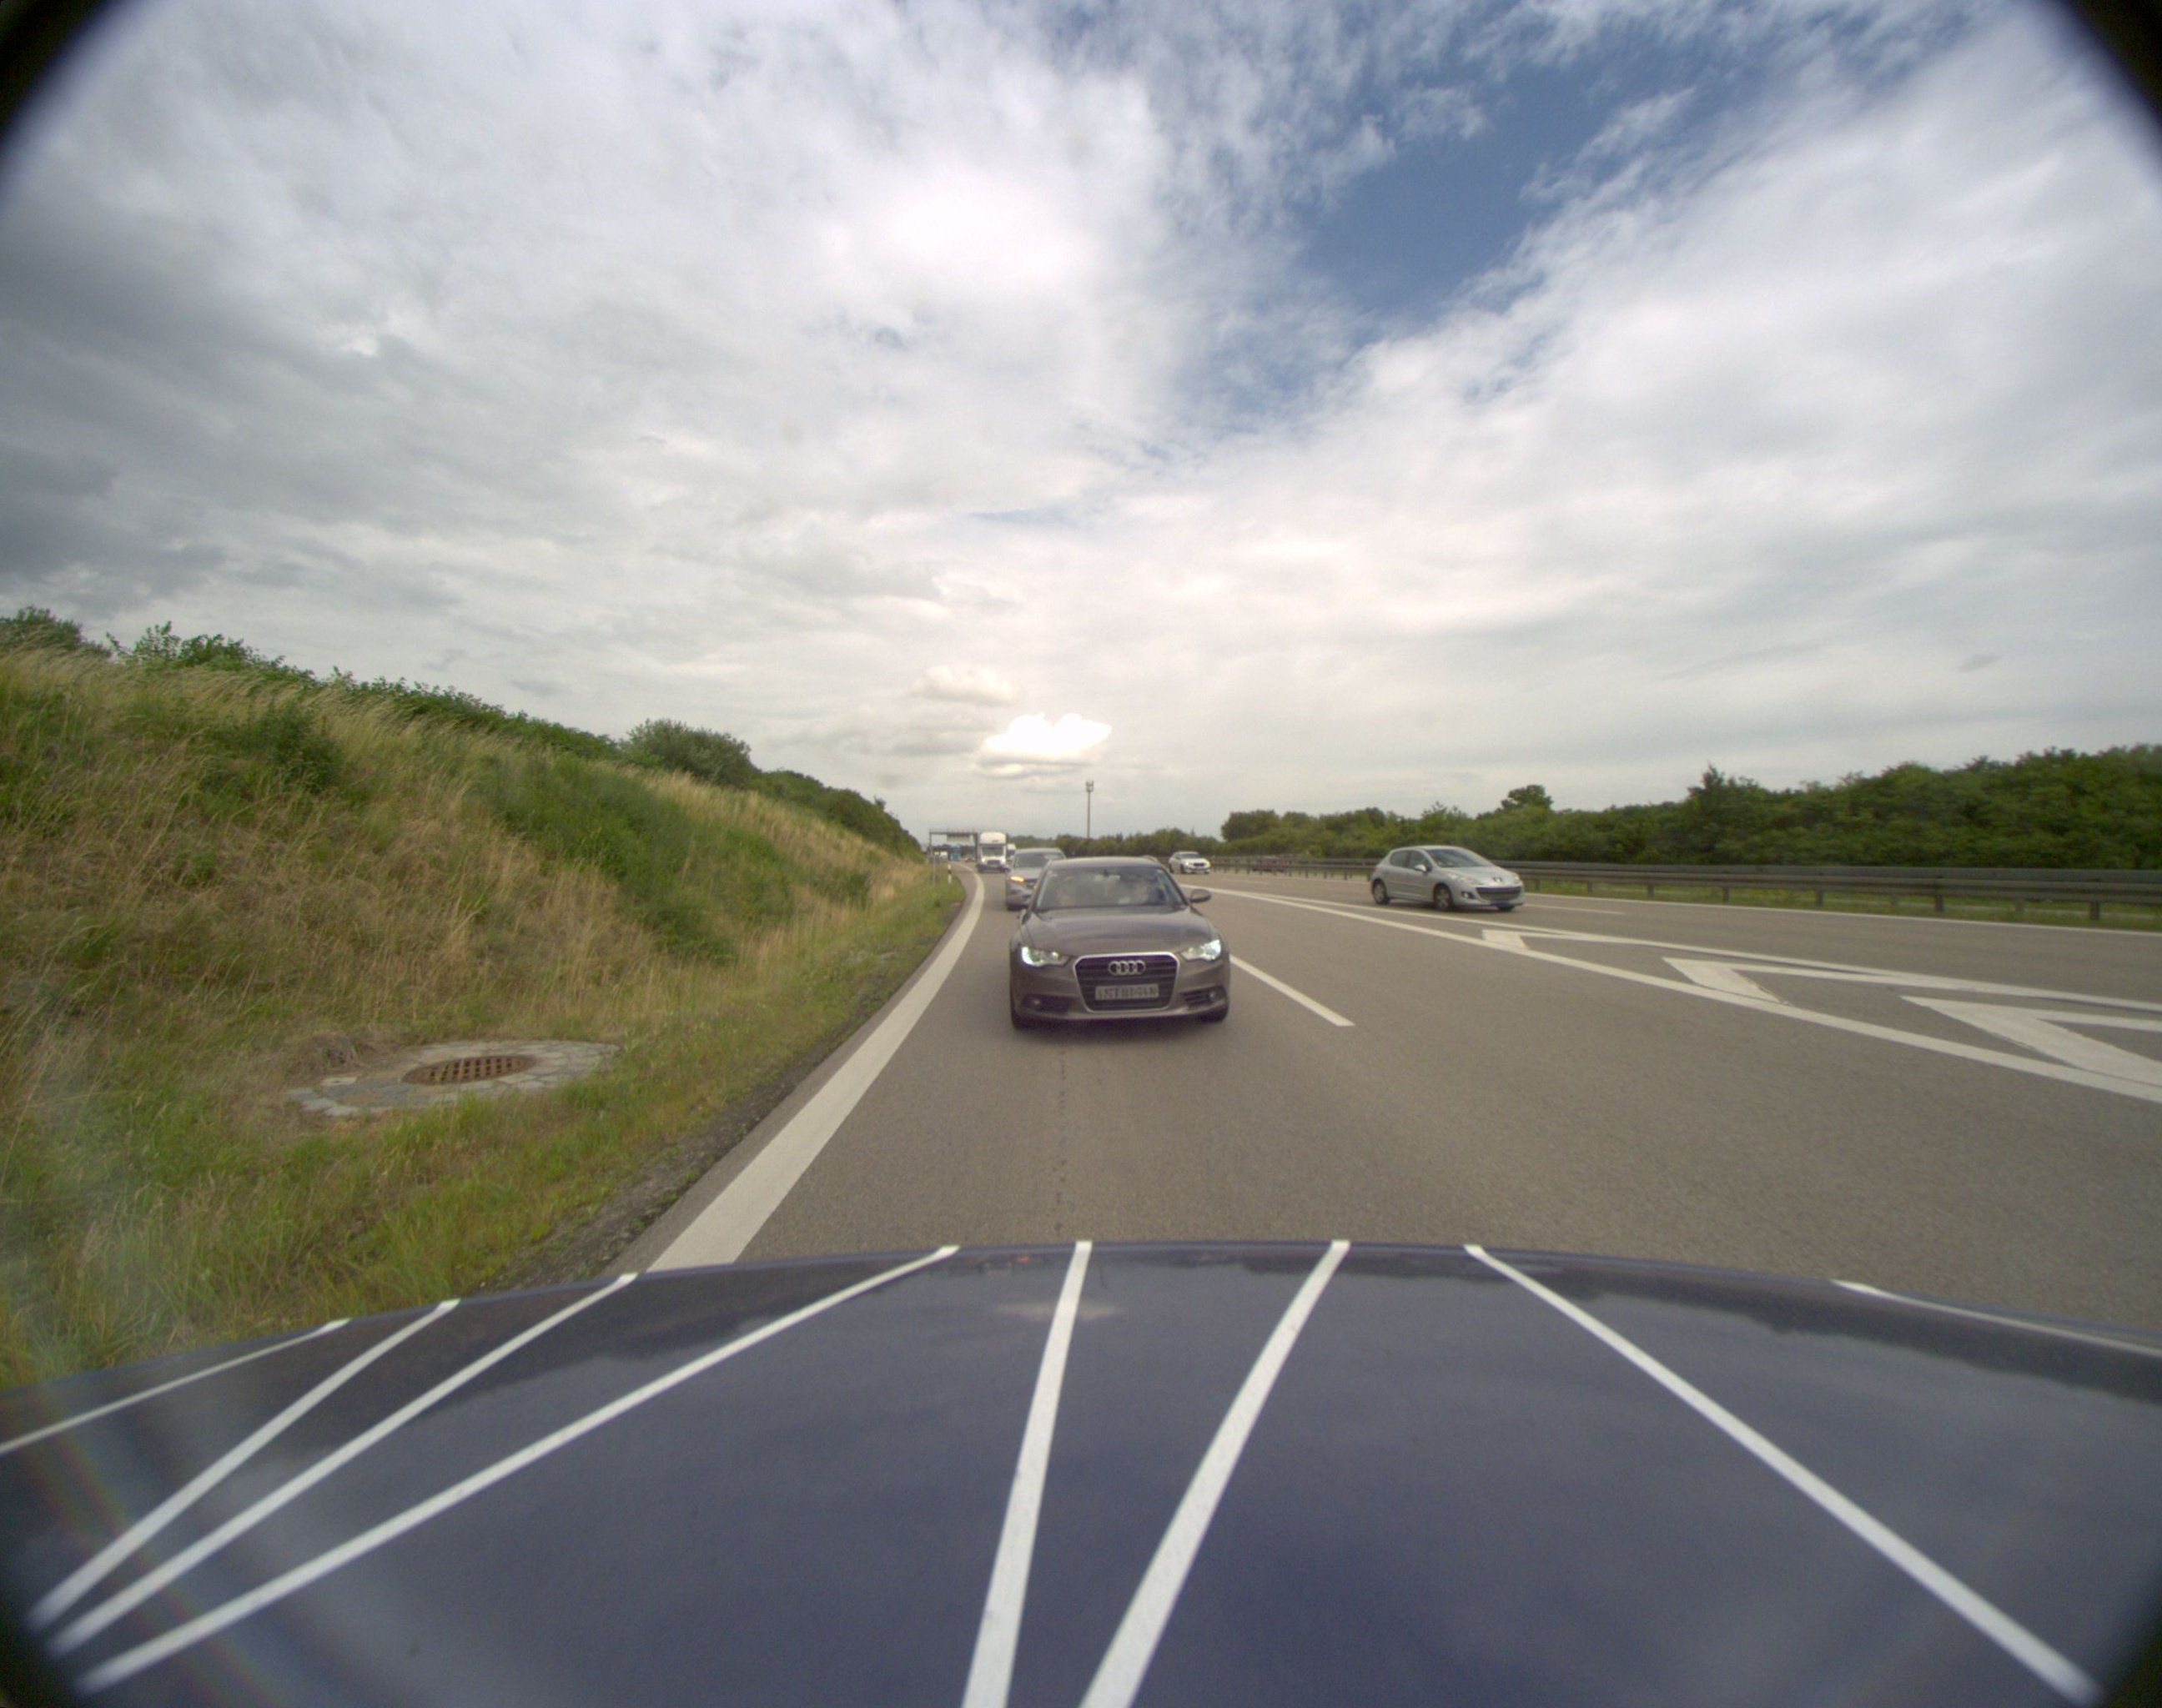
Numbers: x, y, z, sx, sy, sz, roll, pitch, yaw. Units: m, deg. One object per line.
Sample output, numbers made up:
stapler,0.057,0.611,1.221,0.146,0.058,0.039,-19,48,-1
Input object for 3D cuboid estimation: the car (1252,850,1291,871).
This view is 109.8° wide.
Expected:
car,17.187,0.552,68.674,2.000,1.792,3.996,0,0,-9

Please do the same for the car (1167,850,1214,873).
car,7.241,0.471,50.738,1.842,1.444,4.374,-1,0,-10

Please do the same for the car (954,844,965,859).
car,-30.384,-0.569,189.327,2.506,3.689,7.694,-1,1,-10

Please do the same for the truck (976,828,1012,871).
truck,-7.053,-0.356,60.738,2.450,3.217,7.184,-1,1,-10

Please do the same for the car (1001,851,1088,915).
car,-1.133,0.723,21.158,2.000,1.567,3.996,-1,0,-9

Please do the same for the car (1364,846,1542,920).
car,8.494,0.587,17.786,1.723,1.510,3.996,0,0,-10

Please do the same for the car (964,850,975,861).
car,-21.527,0.267,146.398,2.000,2.002,3.996,-1,1,-10

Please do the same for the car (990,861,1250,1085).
car,0.181,0.867,7.492,1.849,1.489,4.027,-2,1,-3

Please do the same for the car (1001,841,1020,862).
car,-8.368,-0.280,90.360,2.000,2.381,3.996,-2,1,-8
